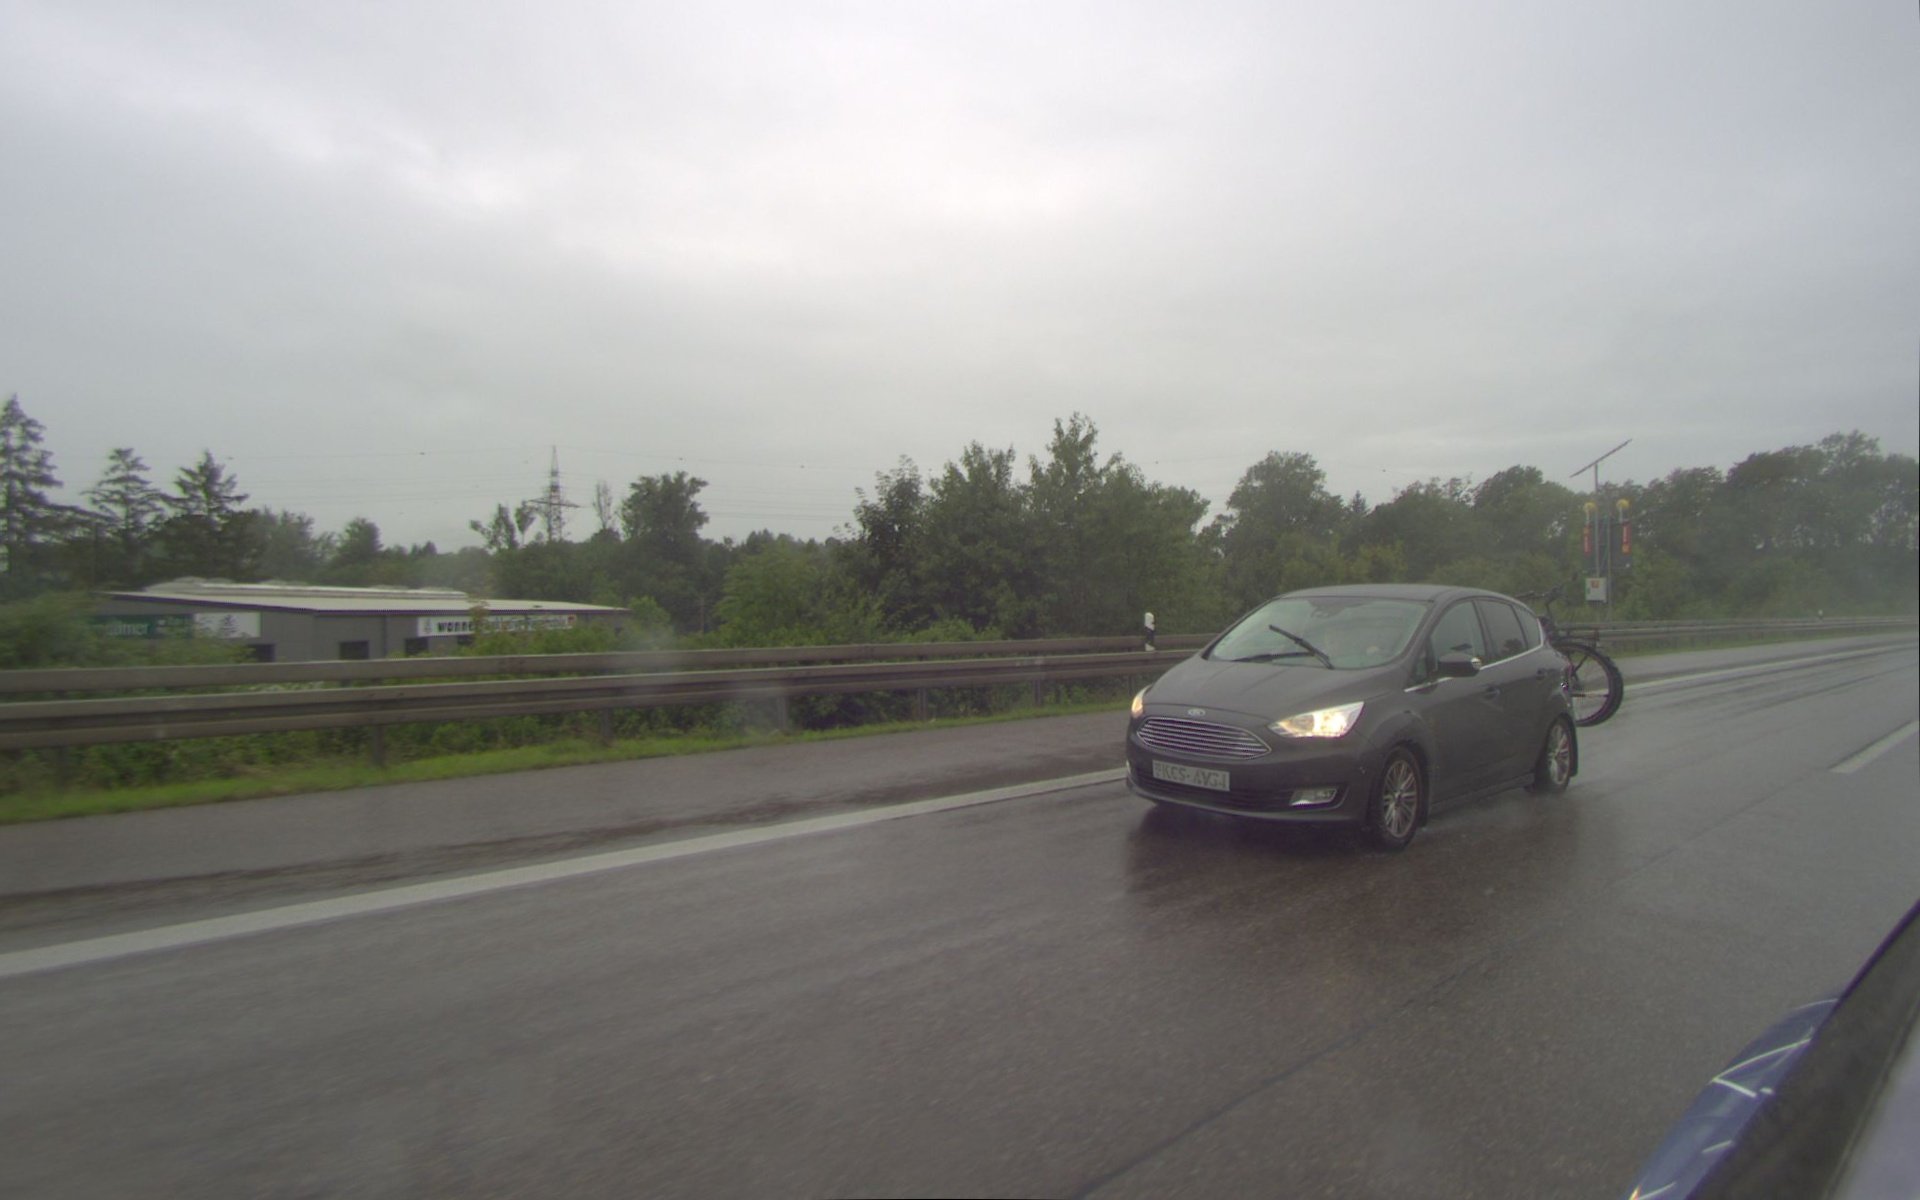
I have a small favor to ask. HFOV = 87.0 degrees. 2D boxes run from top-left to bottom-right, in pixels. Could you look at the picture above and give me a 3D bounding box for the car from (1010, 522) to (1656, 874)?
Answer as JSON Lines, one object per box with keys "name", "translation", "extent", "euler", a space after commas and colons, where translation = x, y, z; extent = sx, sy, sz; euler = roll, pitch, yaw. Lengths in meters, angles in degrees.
{"name": "car", "translation": [3.229, 0.480, 7.906], "extent": [5.621, 1.768, 2.460], "euler": [0, 0, -43]}
